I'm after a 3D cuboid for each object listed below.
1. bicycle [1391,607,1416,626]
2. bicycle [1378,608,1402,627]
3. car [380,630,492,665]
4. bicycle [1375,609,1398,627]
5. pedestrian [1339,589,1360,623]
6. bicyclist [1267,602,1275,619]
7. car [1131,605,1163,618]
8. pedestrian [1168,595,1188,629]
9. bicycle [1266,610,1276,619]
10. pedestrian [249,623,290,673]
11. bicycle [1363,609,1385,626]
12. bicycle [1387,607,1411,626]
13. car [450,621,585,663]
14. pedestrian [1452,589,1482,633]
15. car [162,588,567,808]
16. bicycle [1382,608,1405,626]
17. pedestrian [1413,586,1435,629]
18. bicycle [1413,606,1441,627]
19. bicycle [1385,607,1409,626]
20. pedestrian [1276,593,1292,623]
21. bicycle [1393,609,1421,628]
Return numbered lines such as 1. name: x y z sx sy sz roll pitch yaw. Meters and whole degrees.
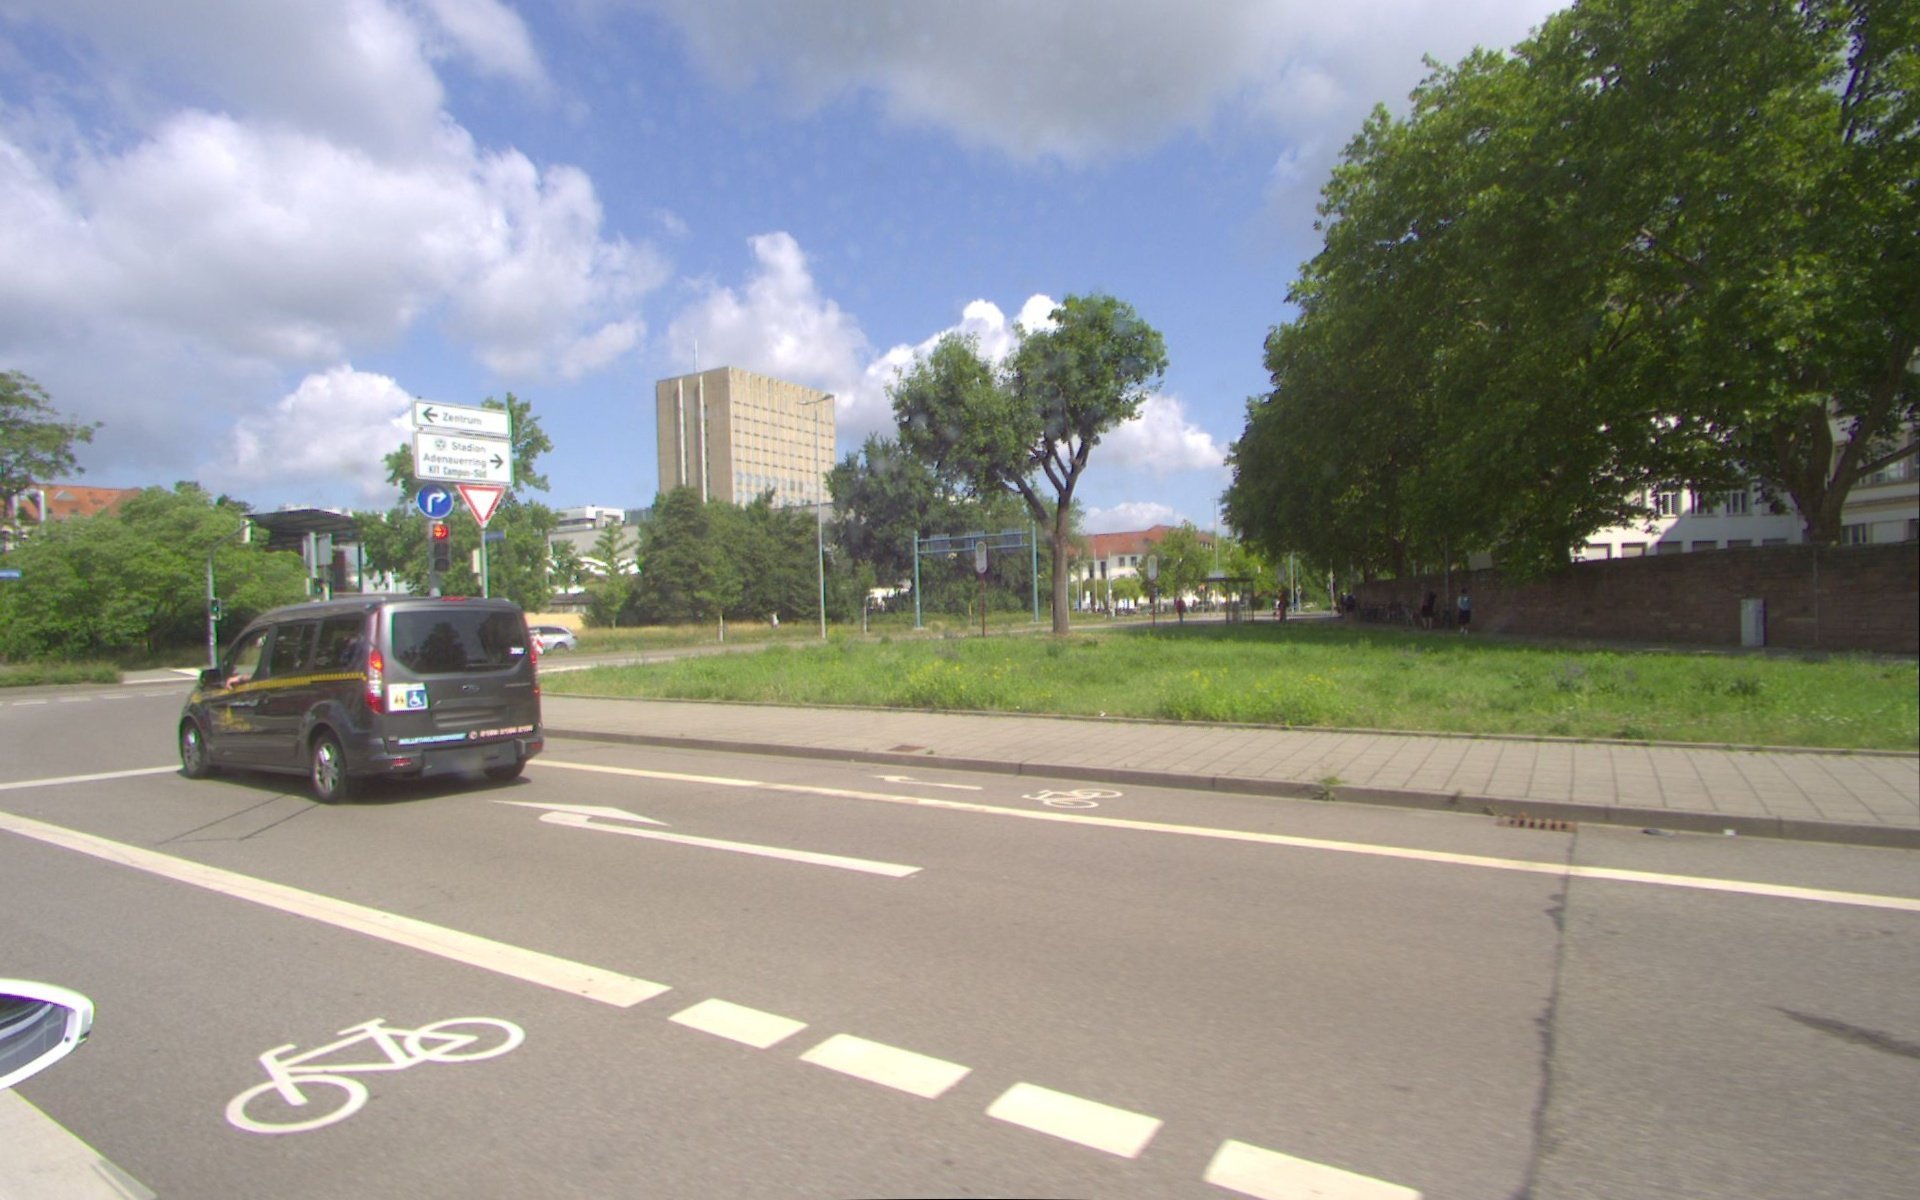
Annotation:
1. bicycle: 20.414 0.747 46.061 0.955 0.860 0.482 -1 1 11
2. bicycle: 20.883 0.851 48.651 0.955 0.860 0.482 -1 1 11
3. car: -23.987 2.137 45.969 1.973 1.395 4.135 -1 0 34
4. bicycle: 20.968 0.873 49.200 0.955 0.860 0.482 -1 1 11
5. pedestrian: 20.956 0.338 53.870 0.870 1.804 0.770 -1 1 9
6. bicyclist: 27.115 0.911 87.227 0.552 1.433 0.604 -1 1 28
7. car: 20.265 1.272 108.441 1.774 1.289 3.973 -1 0 36
8. pedestrian: 12.050 0.670 55.275 0.739 1.803 0.960 -2 0 33
9. bicycle: 27.137 1.267 87.239 0.541 0.707 1.584 -1 0 28
10. pedestrian: -26.891 1.863 39.008 1.161 1.881 0.697 -4 0 22
11. bicycle: 21.540 0.919 52.064 0.955 0.860 0.482 -1 1 11
12. bicycle: 20.507 0.775 46.794 0.955 0.860 0.482 -1 1 11
13. car: -18.363 1.722 41.762 2.037 1.460 4.747 -4 -2 37
14. pedestrian: 18.466 0.405 36.490 0.712 1.554 0.724 -2 0 4
15. car: -6.244 0.873 10.309 4.608 1.808 1.844 -1 -1 35
16. bicycle: 20.778 0.825 48.008 0.955 0.860 0.482 -1 1 11
17. pedestrian: 18.922 0.296 40.809 0.651 1.746 0.742 -1 1 14
18. bicycle: 19.687 0.704 42.245 0.955 0.860 0.482 -1 1 11
19. bicycle: 20.666 0.797 47.338 0.955 0.860 0.482 -1 1 11
20. pedestrian: 19.684 0.465 60.825 0.739 1.803 0.766 -2 0 33
21. bicycle: 20.182 0.837 45.265 1.053 0.860 0.499 -2 0 11
